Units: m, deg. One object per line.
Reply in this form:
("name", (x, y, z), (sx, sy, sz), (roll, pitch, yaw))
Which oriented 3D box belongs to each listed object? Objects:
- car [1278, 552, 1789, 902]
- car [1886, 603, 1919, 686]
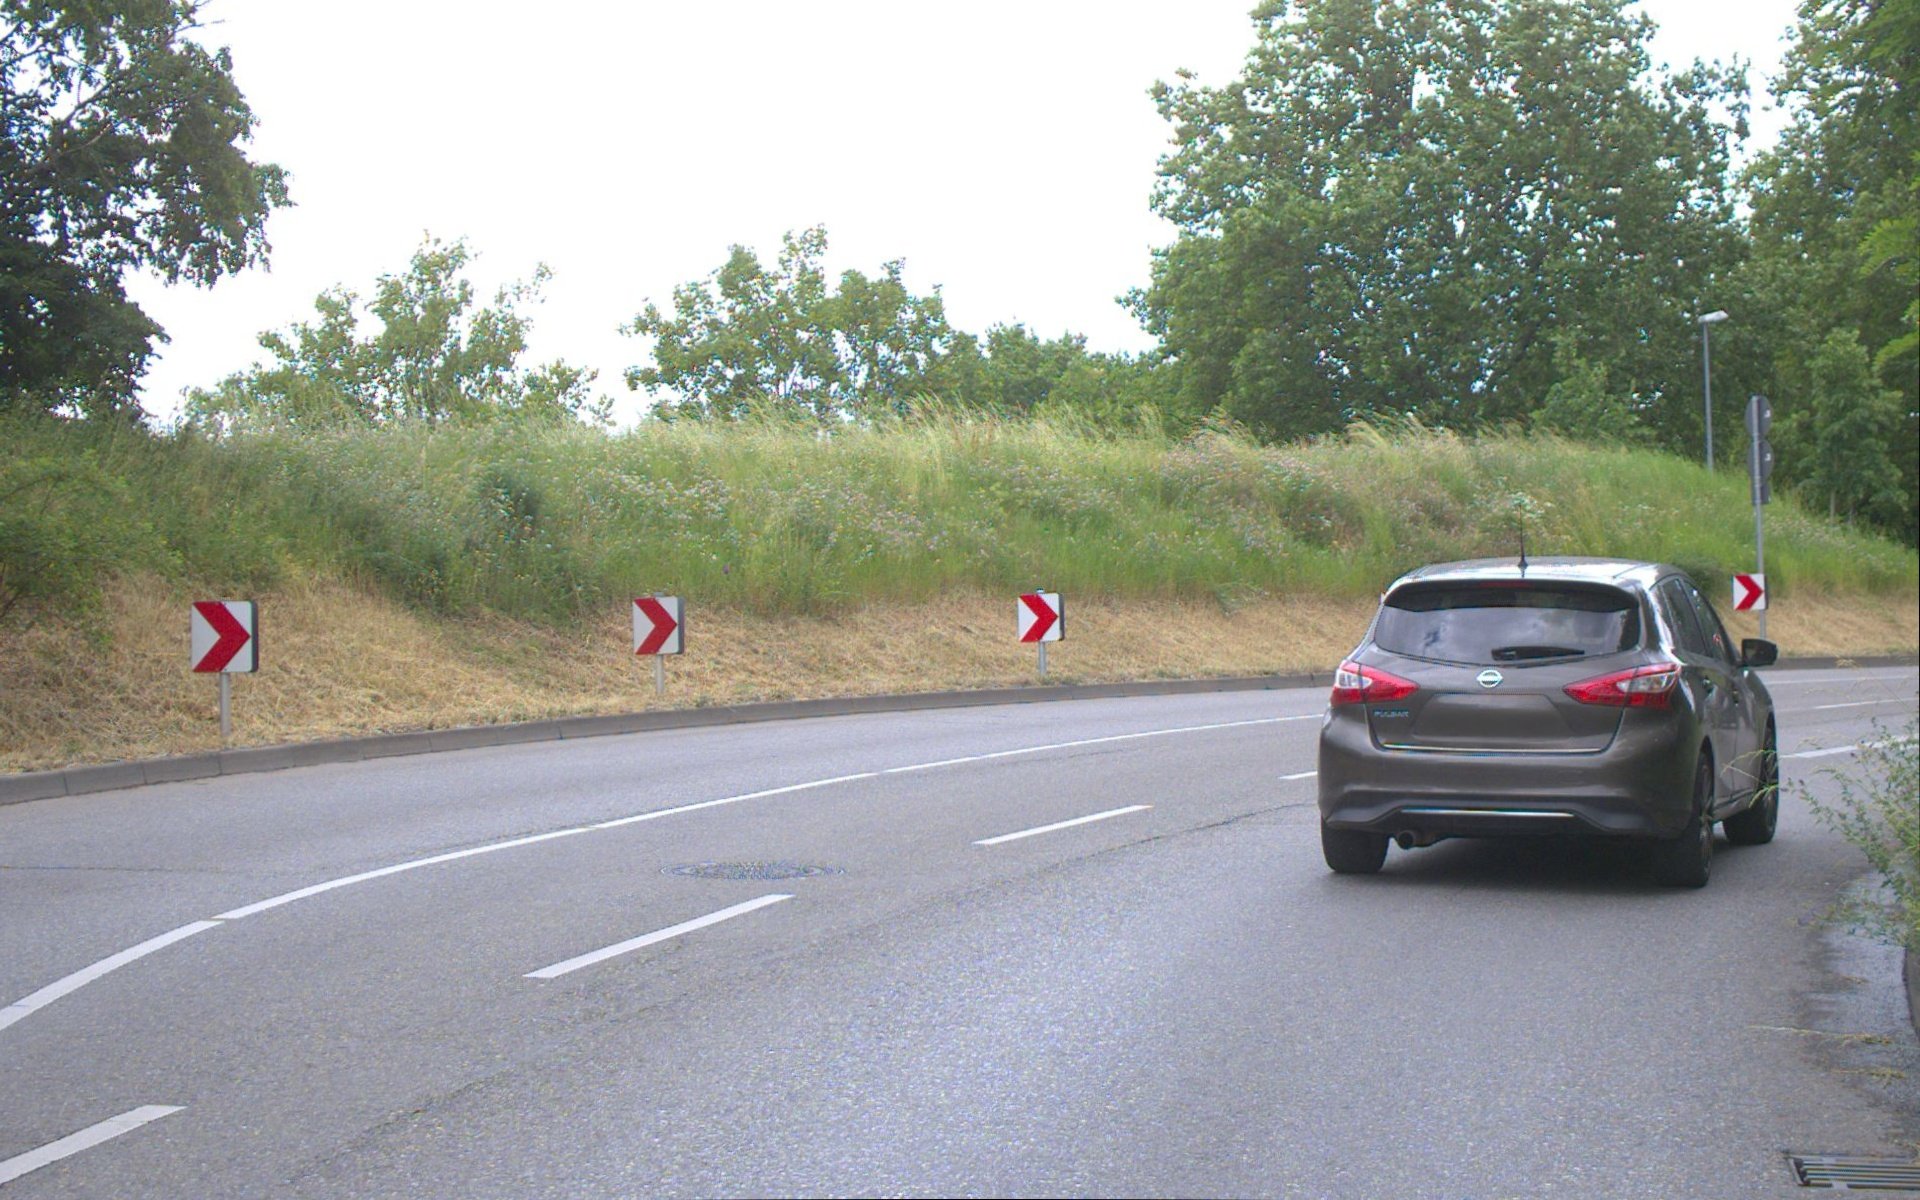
("car", (2.978, 0.522, 17.166), (1.846, 1.488, 3.996), (1, 1, 19))
("car", (22.693, 0.909, 76.116), (1.849, 1.807, 4.038), (-1, -3, -29))
